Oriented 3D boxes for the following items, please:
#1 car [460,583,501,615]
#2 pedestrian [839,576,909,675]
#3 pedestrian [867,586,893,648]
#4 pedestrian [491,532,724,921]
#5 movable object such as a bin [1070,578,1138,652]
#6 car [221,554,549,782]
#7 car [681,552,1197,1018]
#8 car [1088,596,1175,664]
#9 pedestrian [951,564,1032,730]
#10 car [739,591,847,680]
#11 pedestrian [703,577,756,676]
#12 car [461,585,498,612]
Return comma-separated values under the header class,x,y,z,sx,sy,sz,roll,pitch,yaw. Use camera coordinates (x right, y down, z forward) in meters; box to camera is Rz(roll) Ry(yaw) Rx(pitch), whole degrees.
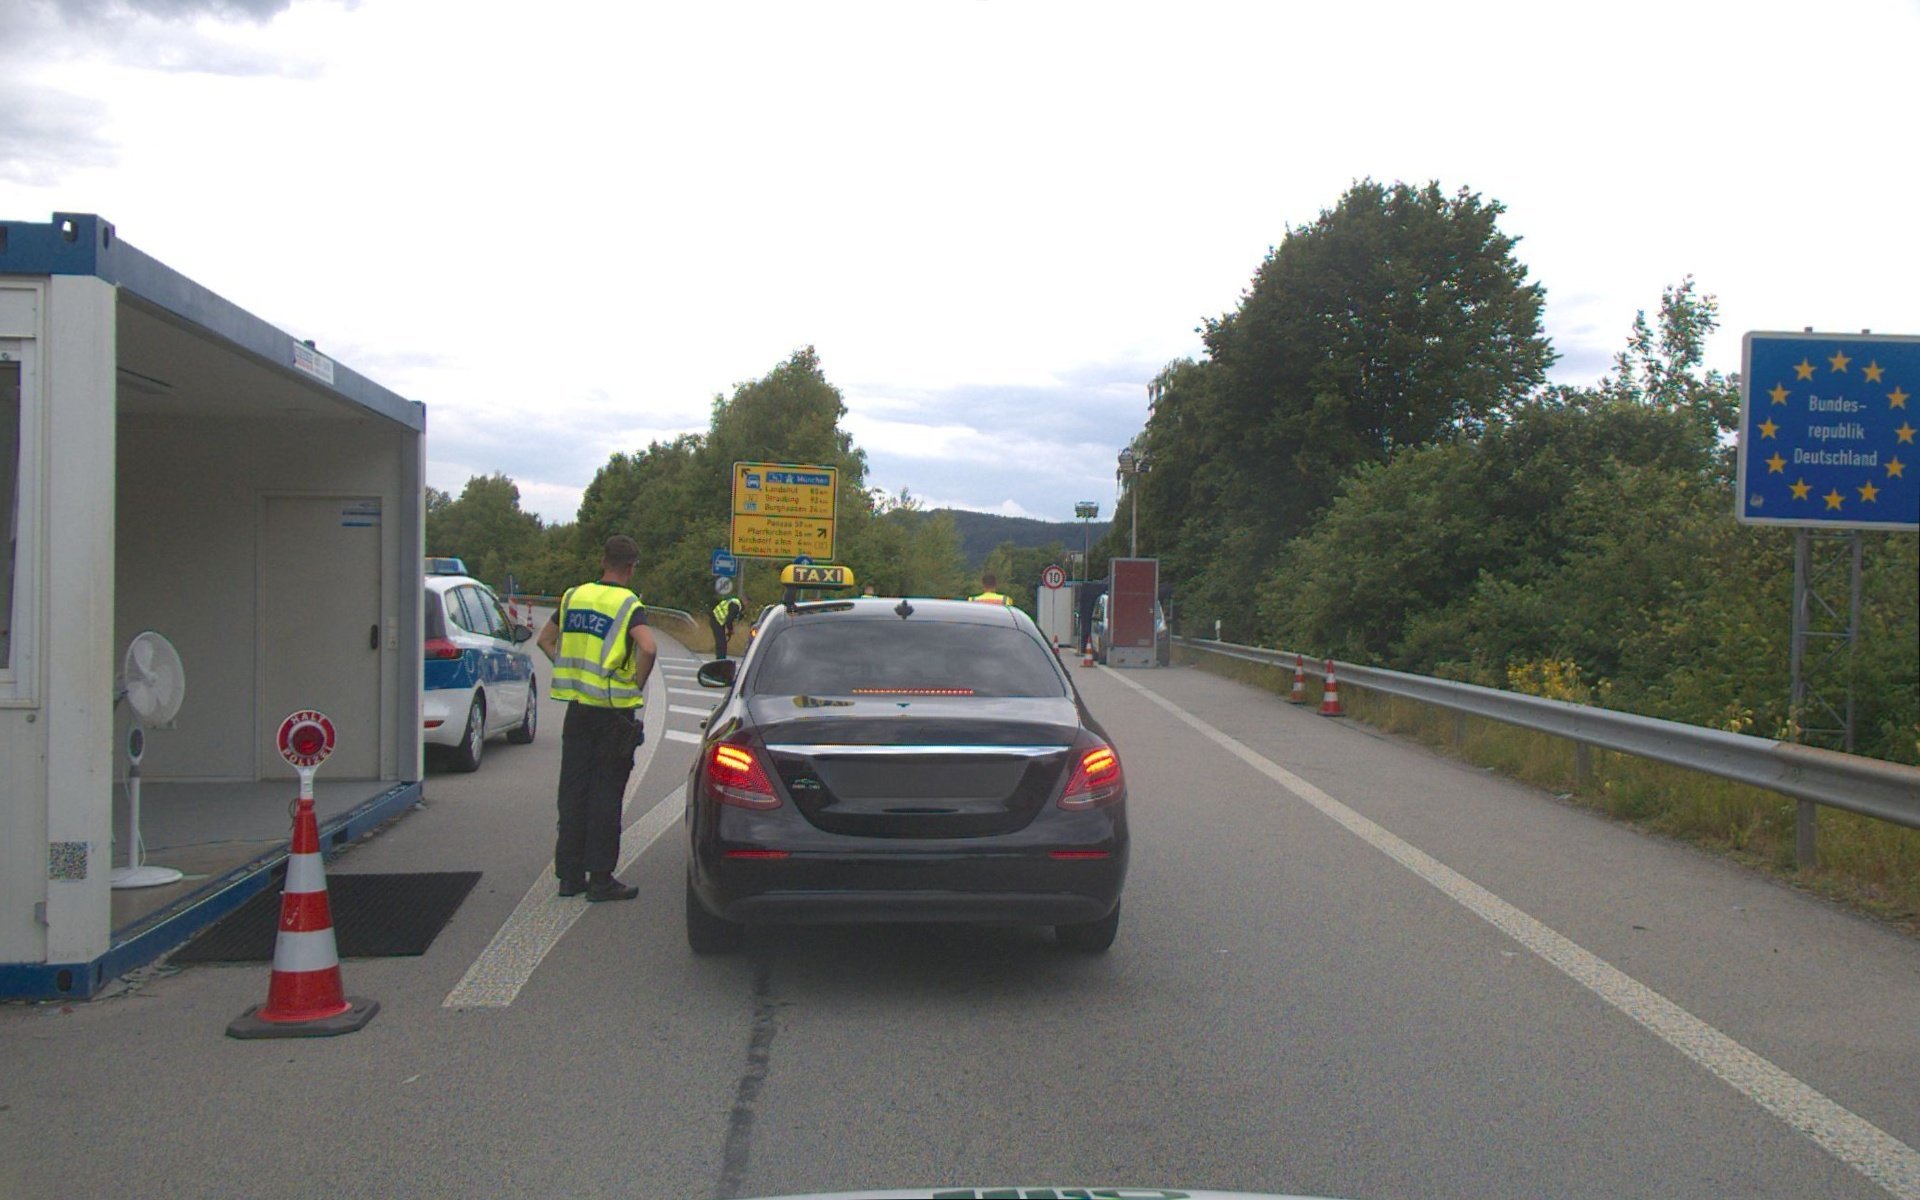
class,x,y,z,sx,sy,sz,roll,pitch,yaw
car,-23.580,-0.067,81.399,1.825,1.524,4.239,1,0,-15
pedestrian,-1.527,0.449,29.316,0.900,1.727,0.903,1,-1,-32
pedestrian,-2.613,0.550,54.077,0.650,1.995,0.760,0,0,15
pedestrian,-1.696,0.569,8.000,0.747,1.748,0.815,0,0,36
movable object such as a bin,4.718,0.466,54.687,1.952,2.320,4.168,1,0,1
car,-4.989,0.529,14.947,1.832,1.774,4.004,1,0,-5
car,-0.261,0.644,8.031,1.819,1.623,4.370,1,0,-5
car,4.688,0.783,45.843,1.877,1.707,5.083,2,0,1
pedestrian,0.377,0.529,19.130,0.795,1.862,0.810,0,0,12
car,-3.035,0.601,30.714,1.818,1.524,4.253,1,0,-4
pedestrian,-4.249,0.479,30.550,0.893,1.800,0.911,1,0,-4
car,-28.252,-0.074,97.168,1.827,1.524,4.233,1,0,-19
